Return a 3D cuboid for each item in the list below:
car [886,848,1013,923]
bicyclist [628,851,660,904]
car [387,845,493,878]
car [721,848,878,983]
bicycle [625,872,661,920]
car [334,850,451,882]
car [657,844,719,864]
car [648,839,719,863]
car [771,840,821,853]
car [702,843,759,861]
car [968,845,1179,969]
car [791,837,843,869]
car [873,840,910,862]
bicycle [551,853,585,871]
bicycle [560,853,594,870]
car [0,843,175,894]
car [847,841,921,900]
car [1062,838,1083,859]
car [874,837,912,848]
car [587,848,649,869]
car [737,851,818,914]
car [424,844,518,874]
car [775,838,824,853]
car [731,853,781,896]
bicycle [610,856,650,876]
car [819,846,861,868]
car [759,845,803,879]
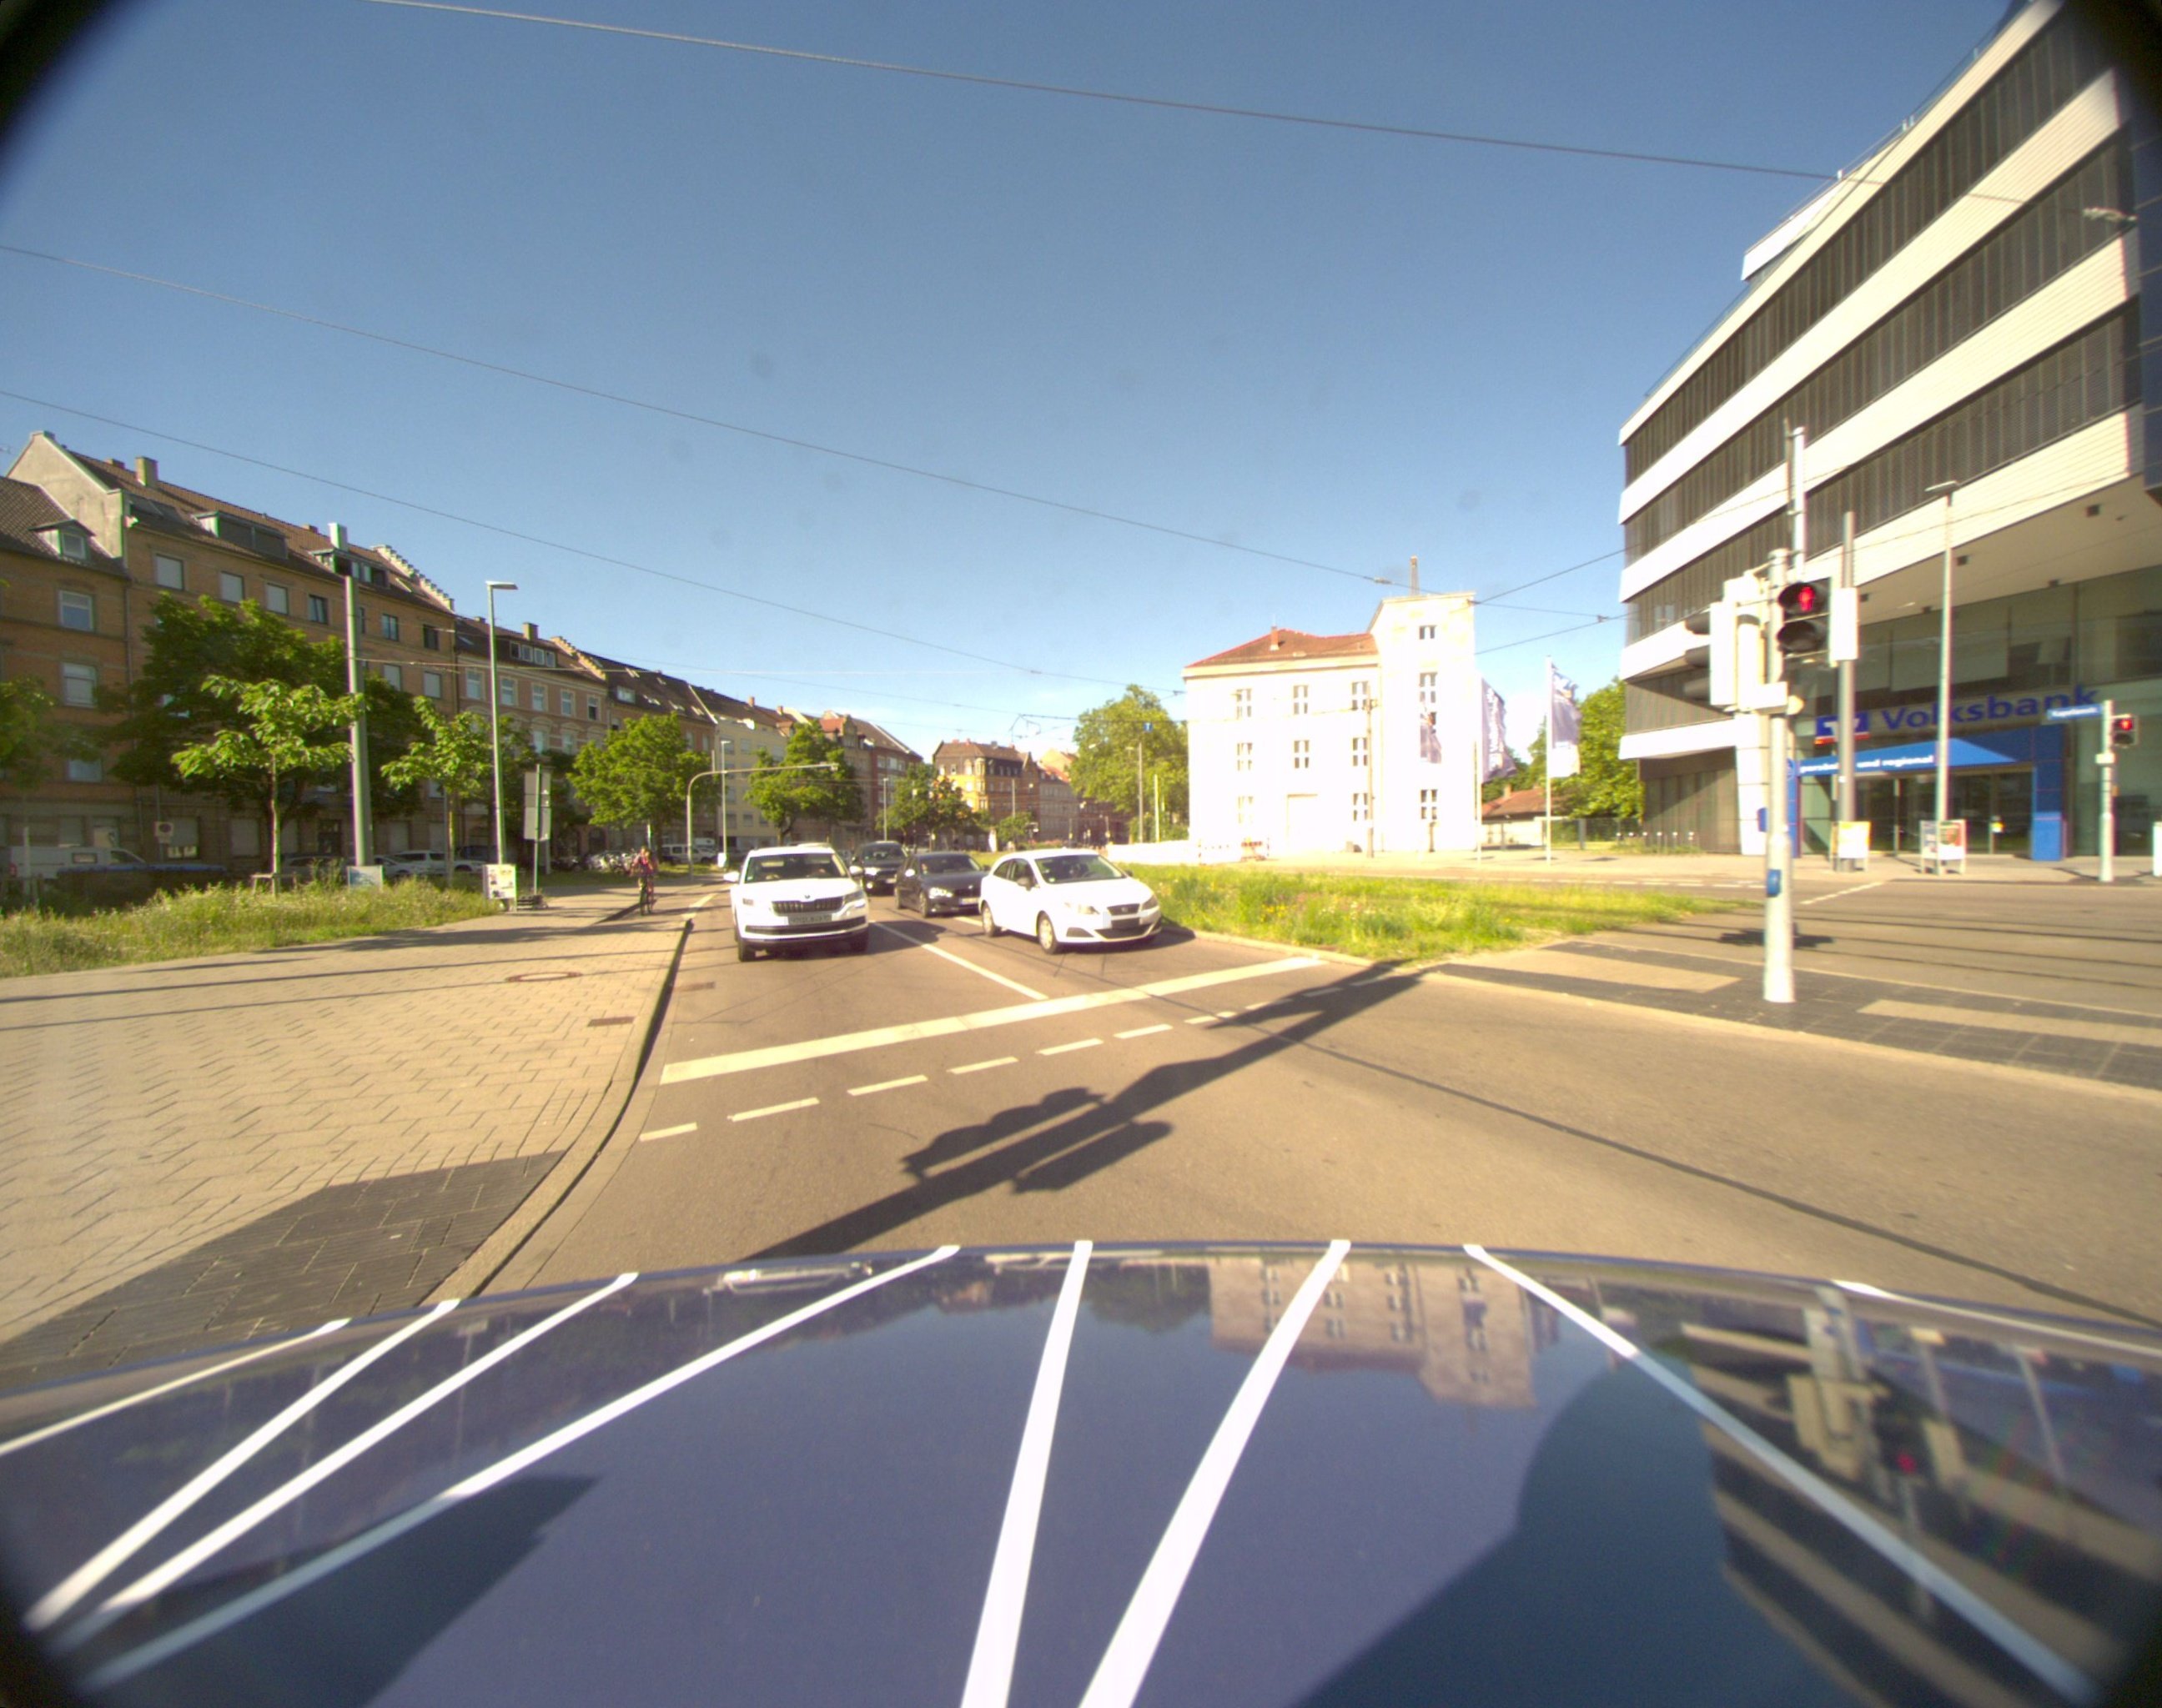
[{"bbox_3d":[-3.238,0.629,17.896,1.843,1.423,4.474,-3,2,-24],"label":"car"},{"bbox_3d":[-11.691,0.616,20.343,0.698,1.369,0.736,0,3,-26],"label":"bicyclist"},{"bbox_3d":[-35.346,0.374,42.035,4.004,1.652,1.996,-2,2,-23],"label":"car"},{"bbox_3d":[-4.638,0.776,12.114,1.877,1.621,4.328,-4,2,-25],"label":"car"},{"bbox_3d":[-11.614,1.088,20.204,0.698,1.099,2.006,0,3,-26],"label":"bicycle"},{"bbox_3d":[-35.604,0.579,39.424,4.004,1.456,1.996,-2,2,-23],"label":"car"},{"bbox_3d":[-32.494,-0.013,62.961,4.406,1.498,1.996,-2,2,-24],"label":"car"},{"bbox_3d":[-31.448,-0.238,60.278,4.799,1.761,1.728,-2,2,-23],"label":"car"},{"bbox_3d":[-28.267,-0.750,75.514,4.402,1.227,1.997,-2,2,-13],"label":"car"},{"bbox_3d":[-30.528,-0.192,66.336,4.406,1.453,1.996,-2,2,-24],"label":"car"},{"bbox_3d":[-0.297,0.641,11.524,1.671,1.423,3.827,-5,3,-25],"label":"car"},{"bbox_3d":[-17.470,-0.088,50.457,1.874,1.971,4.652,-1,1,-2],"label":"car"},{"bbox_3d":[-14.068,-0.276,56.625,1.874,1.547,3.998,-1,1,-2],"label":"car"},{"bbox_3d":[-32.078,0.501,47.546,1.760,1.018,0.452,-1,2,0],"label":"bicycle"},{"bbox_3d":[-32.000,0.485,48.252,1.760,1.018,0.452,-1,2,0],"label":"bicycle"},{"bbox_3d":[-45.228,0.604,34.579,1.996,2.101,4.646,-1,1,14],"label":"car"},{"bbox_3d":[-6.536,0.464,24.921,1.771,1.675,4.319,-3,2,-21],"label":"car"},{"bbox_3d":[-0.752,-0.544,67.284,1.769,1.740,3.998,-1,1,-2],"label":"car"},{"bbox_3d":[-23.720,-1.431,95.778,4.405,1.203,1.996,-2,2,-23],"label":"car"},{"bbox_3d":[-32.956,0.302,54.194,3.469,1.324,1.728,-2,2,-23],"label":"car"},{"bbox_3d":[-8.759,0.724,21.728,1.877,1.547,3.991,-2,2,-25],"label":"car"},{"bbox_3d":[-36.932,0.283,46.115,4.004,1.652,1.996,-2,2,-23],"label":"car"},{"bbox_3d":[-28.989,-0.903,78.327,4.402,1.453,1.997,-2,2,-13],"label":"car"},{"bbox_3d":[-12.211,0.720,28.642,1.588,1.425,3.829,-2,2,-22],"label":"car"},{"bbox_3d":[-24.860,0.644,41.942,0.567,1.018,1.765,0,2,38],"label":"bicycle"},{"bbox_3d":[-17.781,0.191,56.187,1.874,1.439,3.907,-1,1,-2],"label":"car"},{"bbox_3d":[-14.964,0.328,37.872,1.877,1.547,3.992,-2,2,-22],"label":"car"}]
